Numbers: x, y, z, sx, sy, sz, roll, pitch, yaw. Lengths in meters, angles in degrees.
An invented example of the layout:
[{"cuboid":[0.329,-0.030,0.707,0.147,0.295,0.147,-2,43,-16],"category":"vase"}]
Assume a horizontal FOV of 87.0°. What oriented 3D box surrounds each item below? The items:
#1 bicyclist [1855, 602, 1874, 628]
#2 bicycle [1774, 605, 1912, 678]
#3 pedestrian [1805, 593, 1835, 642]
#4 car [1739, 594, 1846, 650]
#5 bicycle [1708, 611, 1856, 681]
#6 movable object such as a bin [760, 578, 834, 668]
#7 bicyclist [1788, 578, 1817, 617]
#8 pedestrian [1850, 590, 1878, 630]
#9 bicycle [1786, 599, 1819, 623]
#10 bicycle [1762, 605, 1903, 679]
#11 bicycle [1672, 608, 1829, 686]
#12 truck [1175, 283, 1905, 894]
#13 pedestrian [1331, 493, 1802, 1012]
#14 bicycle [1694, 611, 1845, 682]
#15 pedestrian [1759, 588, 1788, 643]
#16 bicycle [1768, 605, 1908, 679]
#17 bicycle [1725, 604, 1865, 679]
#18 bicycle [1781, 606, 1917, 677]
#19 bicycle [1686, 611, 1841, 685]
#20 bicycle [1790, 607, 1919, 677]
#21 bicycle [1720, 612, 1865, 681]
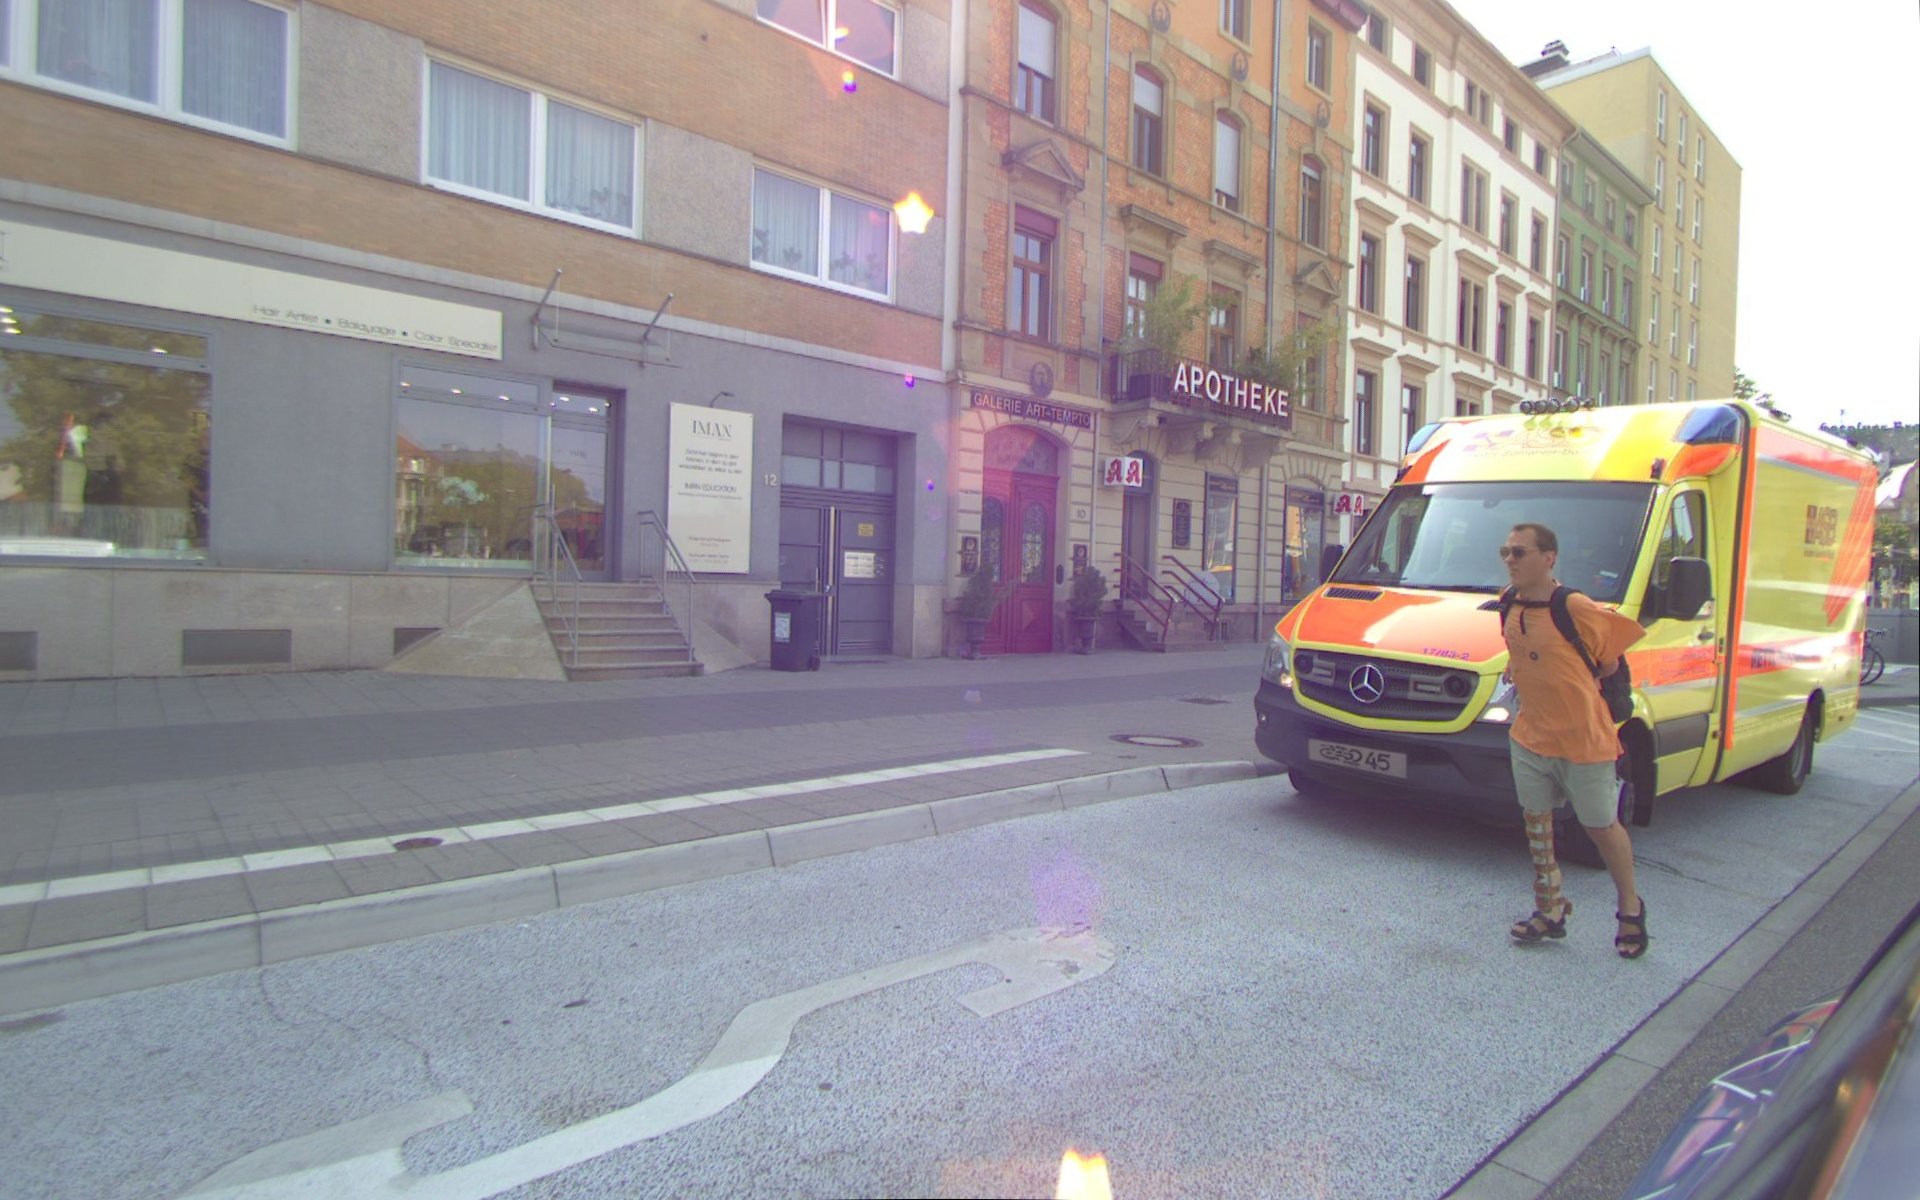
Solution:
[{"cuboid":[66.714,1.123,74.649,0.650,1.926,0.861,0,-1,-13],"category":"bicyclist"},{"cuboid":[15.949,0.724,18.322,0.427,1.235,1.841,1,0,-40],"category":"bicycle"},{"cuboid":[29.441,0.595,34.647,0.783,1.648,0.645,1,2,-43],"category":"pedestrian"},{"cuboid":[24.491,0.619,29.740,3.863,1.444,1.667,1,4,-40],"category":"car"},{"cuboid":[13.743,0.742,16.957,0.646,1.074,1.841,1,0,-40],"category":"bicycle"},{"cuboid":[-2.155,0.290,13.435,0.640,1.118,0.723,4,2,24],"category":"movable object such as a bin"},{"cuboid":[35.000,-0.107,42.024,1.083,1.607,0.720,1,1,-40],"category":"bicyclist"},{"cuboid":[37.966,0.421,42.485,0.781,1.648,0.646,1,2,-35],"category":"pedestrian"},{"cuboid":[34.995,0.457,42.029,1.965,0.965,0.720,1,1,-40],"category":"bicycle"},{"cuboid":[15.271,0.704,17.759,0.427,1.219,1.841,1,0,-40],"category":"bicycle"},{"cuboid":[12.085,0.684,15.512,0.686,1.089,1.806,1,0,-40],"category":"bicycle"},{"cuboid":[4.612,-0.111,7.471,6.221,2.803,2.336,0,4,-38],"category":"truck"},{"cuboid":[2.403,0.506,4.097,1.213,1.761,0.970,3,4,-26],"category":"pedestrian"},{"cuboid":[13.213,0.732,16.570,0.646,1.066,1.841,1,0,-40],"category":"bicycle"},{"cuboid":[27.492,0.508,34.208,0.686,1.780,0.785,3,2,39],"category":"pedestrian"},{"cuboid":[15.605,0.718,18.027,0.427,1.219,1.841,1,0,-40],"category":"bicycle"},{"cuboid":[14.684,0.698,17.838,0.539,1.219,1.841,1,0,-40],"category":"bicycle"},{"cuboid":[16.316,0.733,18.617,0.427,1.219,1.841,1,0,-40],"category":"bicycle"},{"cuboid":[12.733,0.723,16.076,0.646,1.074,1.841,1,0,-40],"category":"bicycle"},{"cuboid":[16.792,0.751,18.966,0.626,1.219,1.841,1,0,-39],"category":"bicycle"},{"cuboid":[14.265,0.769,17.390,0.646,1.070,1.841,1,0,-40],"category":"bicycle"}]
